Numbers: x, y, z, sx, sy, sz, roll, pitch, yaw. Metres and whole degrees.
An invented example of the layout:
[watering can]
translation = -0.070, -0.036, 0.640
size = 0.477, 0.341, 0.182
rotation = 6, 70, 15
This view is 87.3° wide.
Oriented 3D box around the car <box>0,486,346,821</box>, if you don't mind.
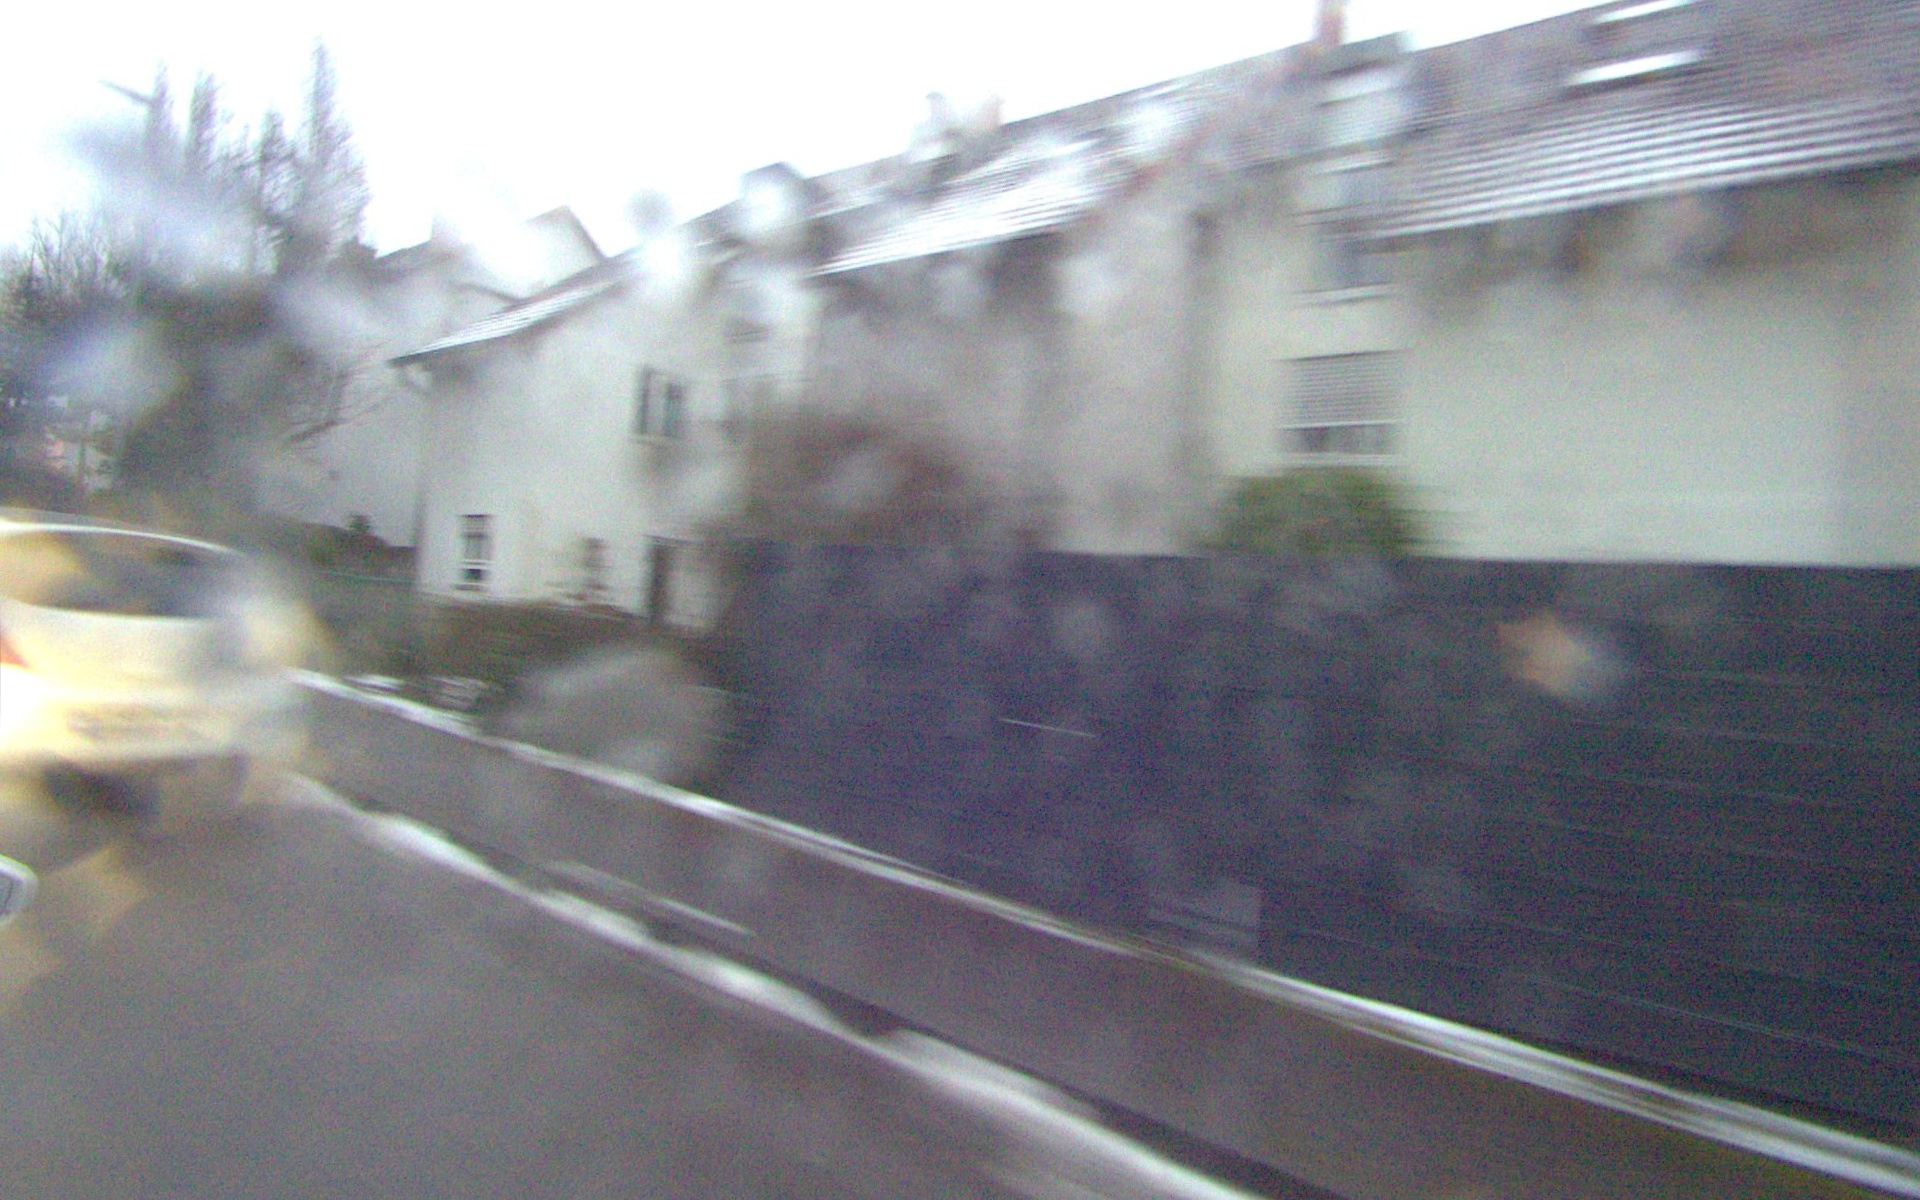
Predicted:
[car]
translation = -5.715, 0.145, 6.135
size = 3.960, 1.523, 1.707
rotation = 6, -2, 33
